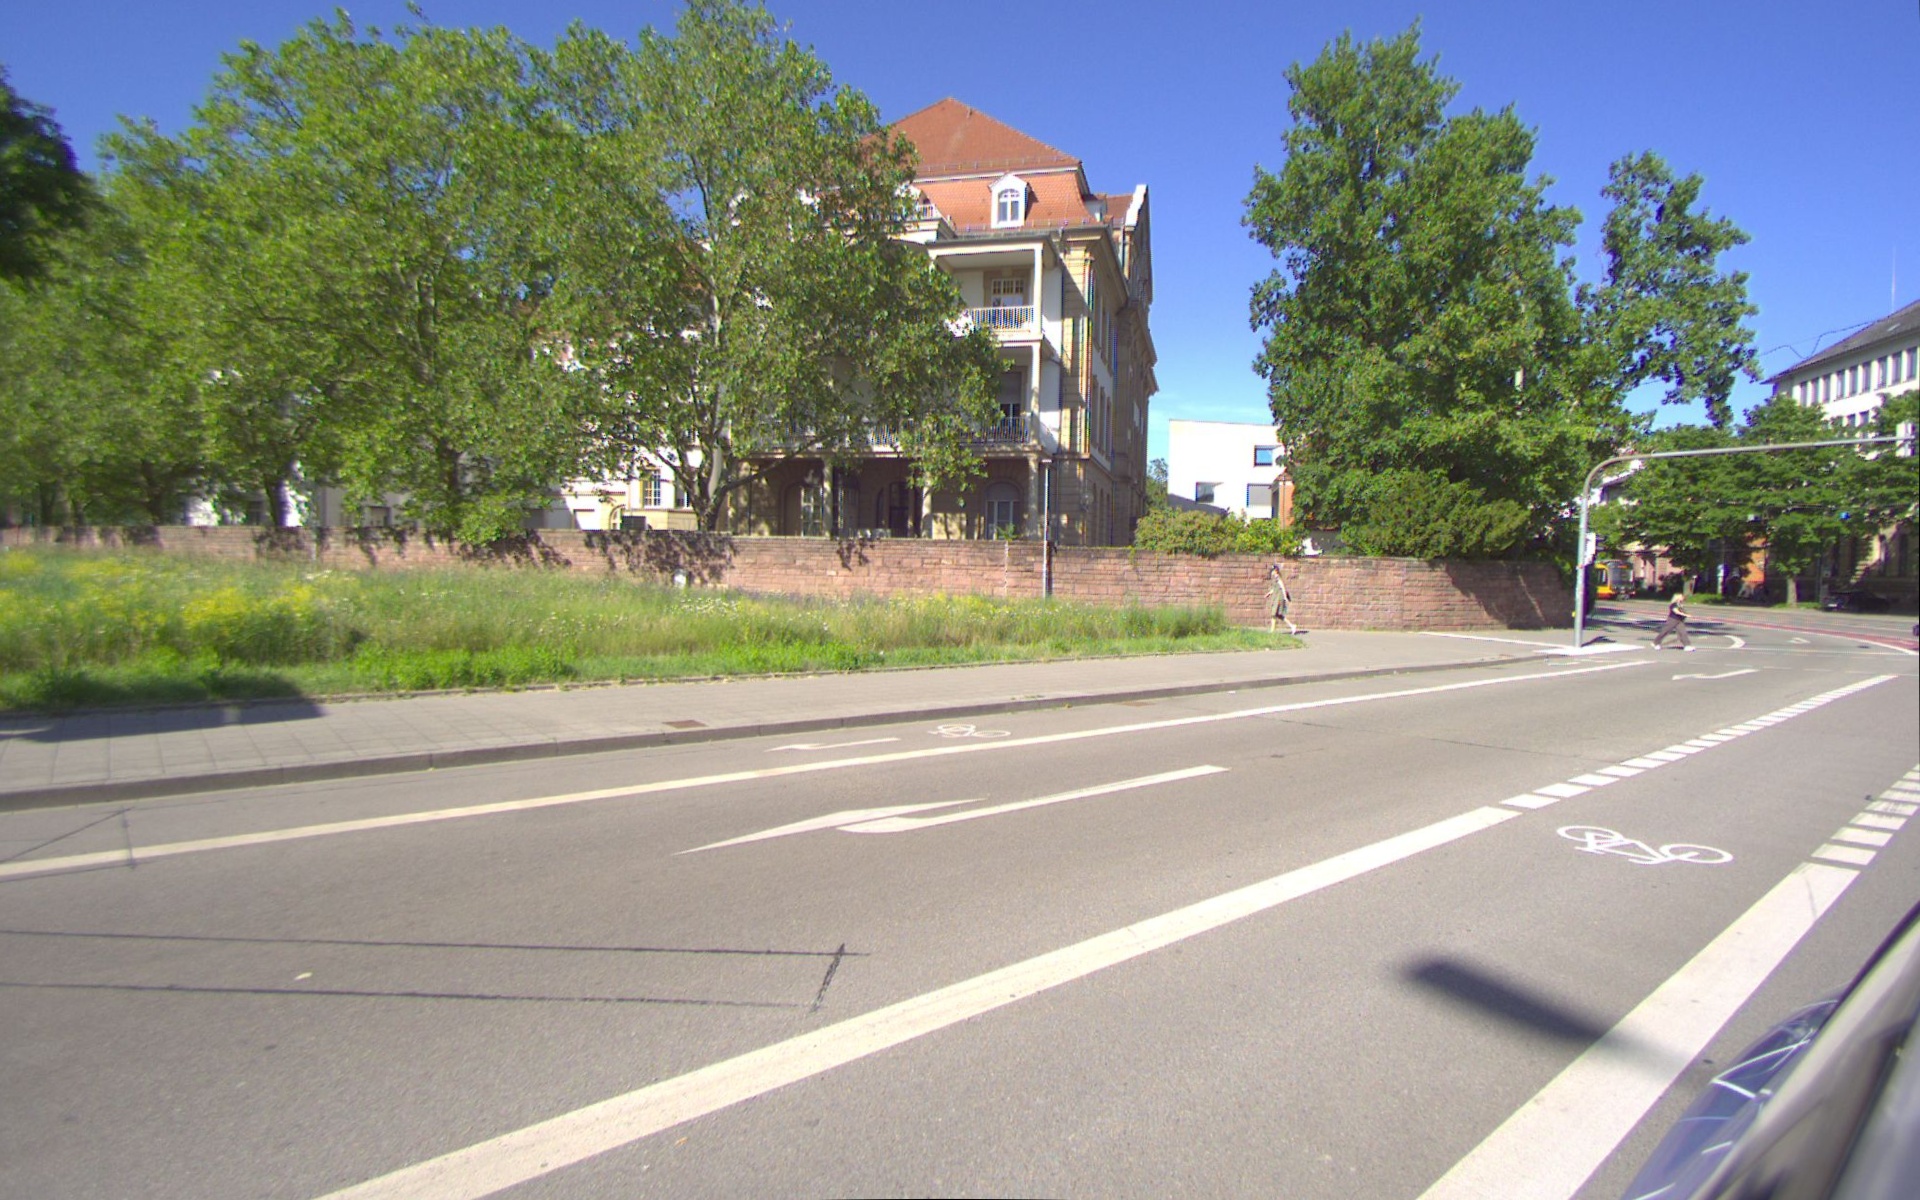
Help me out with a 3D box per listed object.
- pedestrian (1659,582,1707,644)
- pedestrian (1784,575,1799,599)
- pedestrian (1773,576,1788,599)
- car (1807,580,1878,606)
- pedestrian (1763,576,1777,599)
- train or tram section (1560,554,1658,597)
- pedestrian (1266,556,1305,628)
[{"bbox_3d":[20.555,0.354,28.770,0.619,1.687,0.932,0,2,-37],"label":"pedestrian"},{"bbox_3d":[69.340,-1.070,84.396,0.568,1.927,0.849,1,1,12],"label":"pedestrian"},{"bbox_3d":[68.615,-1.069,84.599,0.568,1.927,0.849,1,1,12],"label":"pedestrian"},{"bbox_3d":[60.172,-0.520,69.087,1.806,1.615,3.988,2,2,11],"label":"car"},{"bbox_3d":[67.834,-1.066,84.801,0.568,1.927,0.781,1,1,12],"label":"pedestrian"},{"bbox_3d":[58.052,-2.268,91.070,2.898,3.563,13.786,2,2,13],"label":"train or tram section"},{"bbox_3d":[8.704,-0.224,27.089,0.772,1.881,0.631,1,1,-2],"label":"pedestrian"}]
